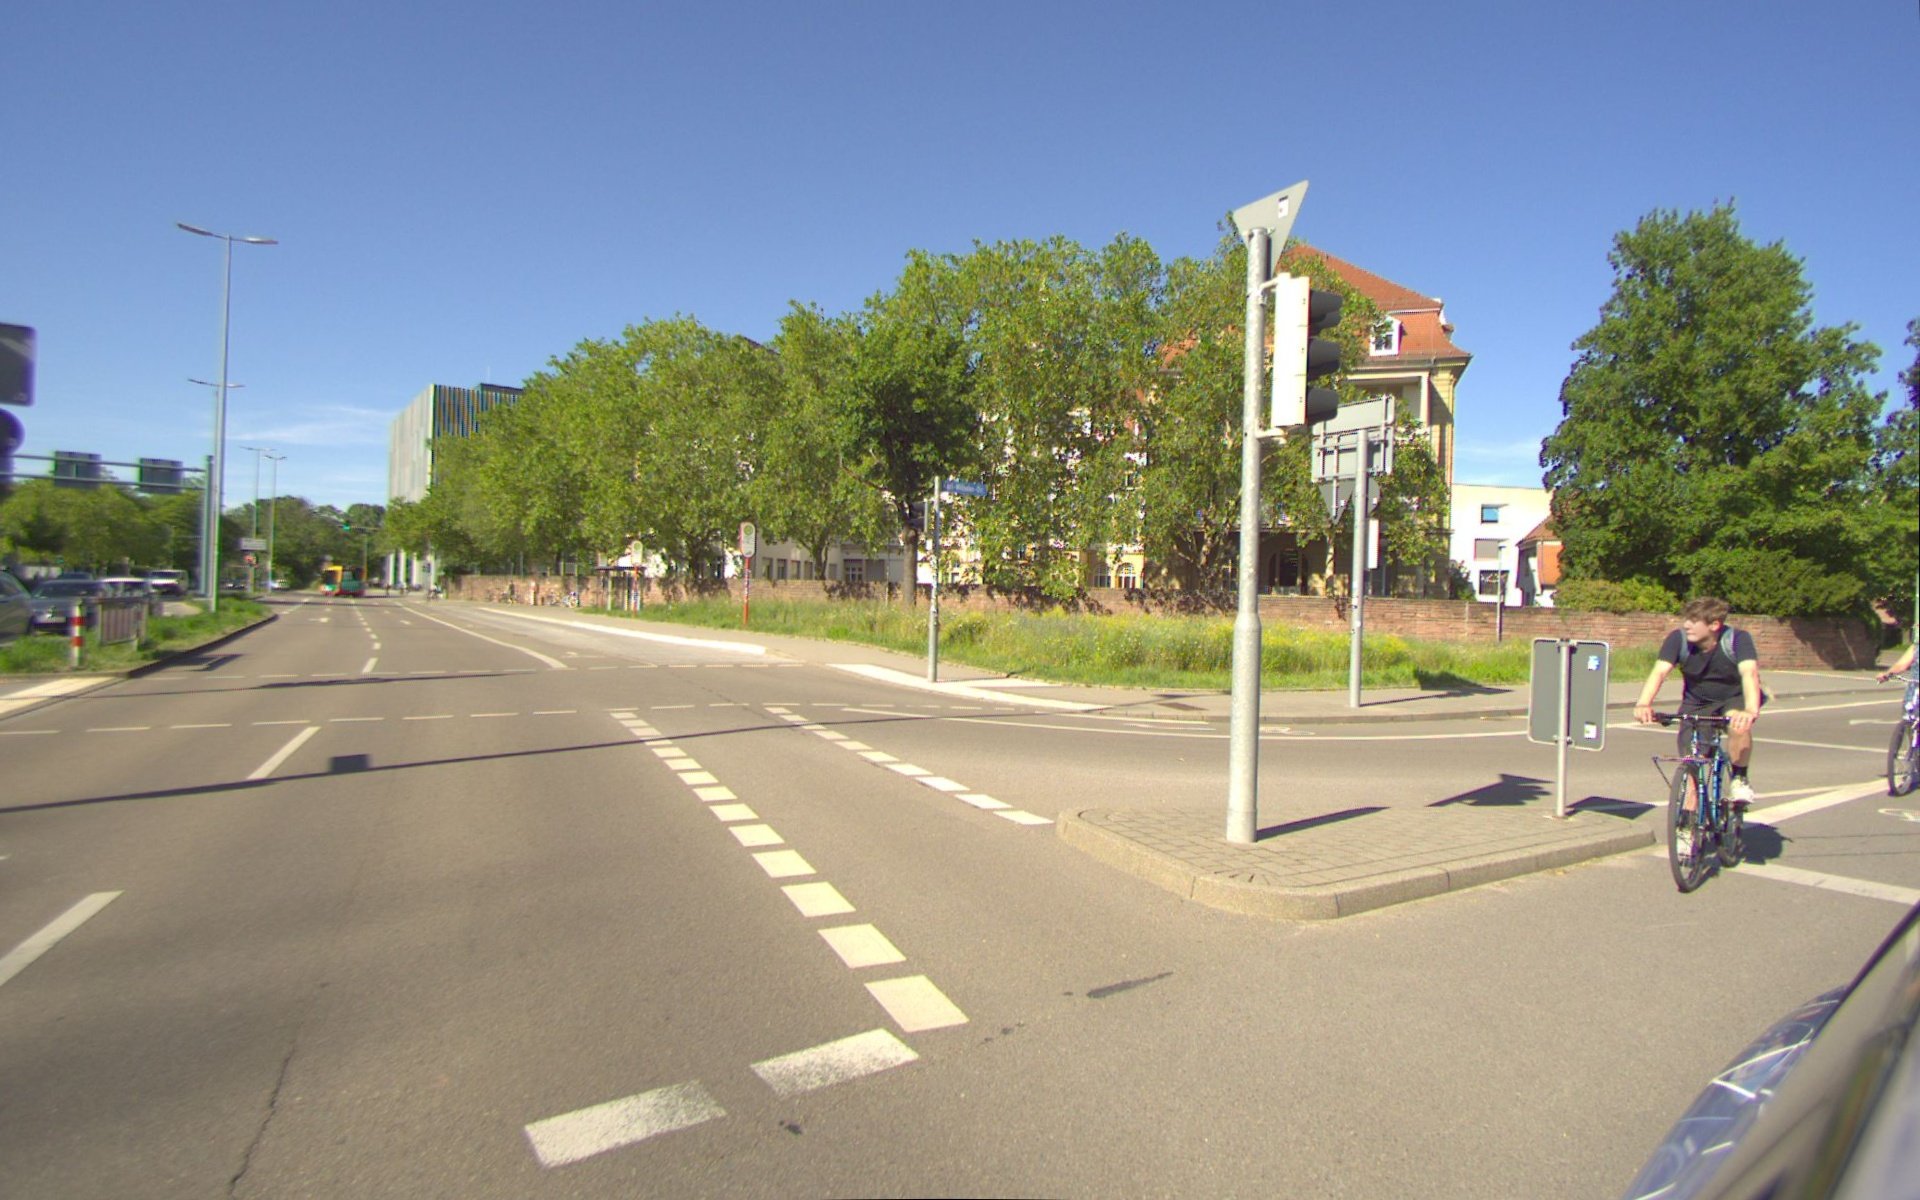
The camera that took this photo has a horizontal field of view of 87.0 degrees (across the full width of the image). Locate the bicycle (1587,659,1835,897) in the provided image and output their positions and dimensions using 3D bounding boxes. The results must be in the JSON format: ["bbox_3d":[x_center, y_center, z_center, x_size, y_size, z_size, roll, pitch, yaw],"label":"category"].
[{"bbox_3d":[4.473,0.974,5.979,1.834,1.180,0.643,4,-3,-36],"label":"bicycle"}]

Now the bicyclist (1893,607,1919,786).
[{"bbox_3d":[9.433,0.914,9.661,0.762,1.684,0.643,1,-1,-37],"label":"bicyclist"}]

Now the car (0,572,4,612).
[{"bbox_3d":[-43.753,-0.343,44.536,1.812,1.852,4.390,0,1,-35],"label":"car"}]

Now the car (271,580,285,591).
[{"bbox_3d":[-105.582,-2.238,156.632,1.660,1.612,3.601,0,1,-32],"label":"car"}]

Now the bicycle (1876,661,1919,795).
[{"bbox_3d":[9.470,1.195,9.696,1.930,1.180,0.643,2,-1,-36],"label":"bicycle"}]

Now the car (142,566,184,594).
[{"bbox_3d":[-57.520,-1.451,73.115,1.901,1.977,4.535,0,1,-32],"label":"car"}]

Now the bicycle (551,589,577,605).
[{"bbox_3d":[-28.225,-0.180,72.129,2.076,1.090,0.784,-1,-2,40],"label":"bicycle"}]

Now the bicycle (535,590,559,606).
[{"bbox_3d":[-30.034,-0.151,73.604,2.076,1.090,0.784,-1,-2,40],"label":"bicycle"}]

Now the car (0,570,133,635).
[{"bbox_3d":[-23.682,0.021,26.908,1.944,1.574,4.728,0,1,-31],"label":"car"}]

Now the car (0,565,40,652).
[{"bbox_3d":[-19.286,0.152,19.300,1.754,1.645,4.320,0,1,-31],"label":"car"}]

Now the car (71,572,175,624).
[{"bbox_3d":[-27.563,-0.096,33.498,1.944,1.574,4.728,0,1,-31],"label":"car"}]

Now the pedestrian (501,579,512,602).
[{"bbox_3d":[-33.298,-0.677,74.332,0.641,1.632,0.558,2,-3,-37],"label":"pedestrian"}]

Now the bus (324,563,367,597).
[{"bbox_3d":[-65.066,-2.043,107.157,2.935,3.316,6.246,2,-2,-40],"label":"bus"}]

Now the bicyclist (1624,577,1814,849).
[{"bbox_3d":[4.507,0.634,6.002,0.935,1.463,0.643,4,-3,-35],"label":"bicyclist"}]
